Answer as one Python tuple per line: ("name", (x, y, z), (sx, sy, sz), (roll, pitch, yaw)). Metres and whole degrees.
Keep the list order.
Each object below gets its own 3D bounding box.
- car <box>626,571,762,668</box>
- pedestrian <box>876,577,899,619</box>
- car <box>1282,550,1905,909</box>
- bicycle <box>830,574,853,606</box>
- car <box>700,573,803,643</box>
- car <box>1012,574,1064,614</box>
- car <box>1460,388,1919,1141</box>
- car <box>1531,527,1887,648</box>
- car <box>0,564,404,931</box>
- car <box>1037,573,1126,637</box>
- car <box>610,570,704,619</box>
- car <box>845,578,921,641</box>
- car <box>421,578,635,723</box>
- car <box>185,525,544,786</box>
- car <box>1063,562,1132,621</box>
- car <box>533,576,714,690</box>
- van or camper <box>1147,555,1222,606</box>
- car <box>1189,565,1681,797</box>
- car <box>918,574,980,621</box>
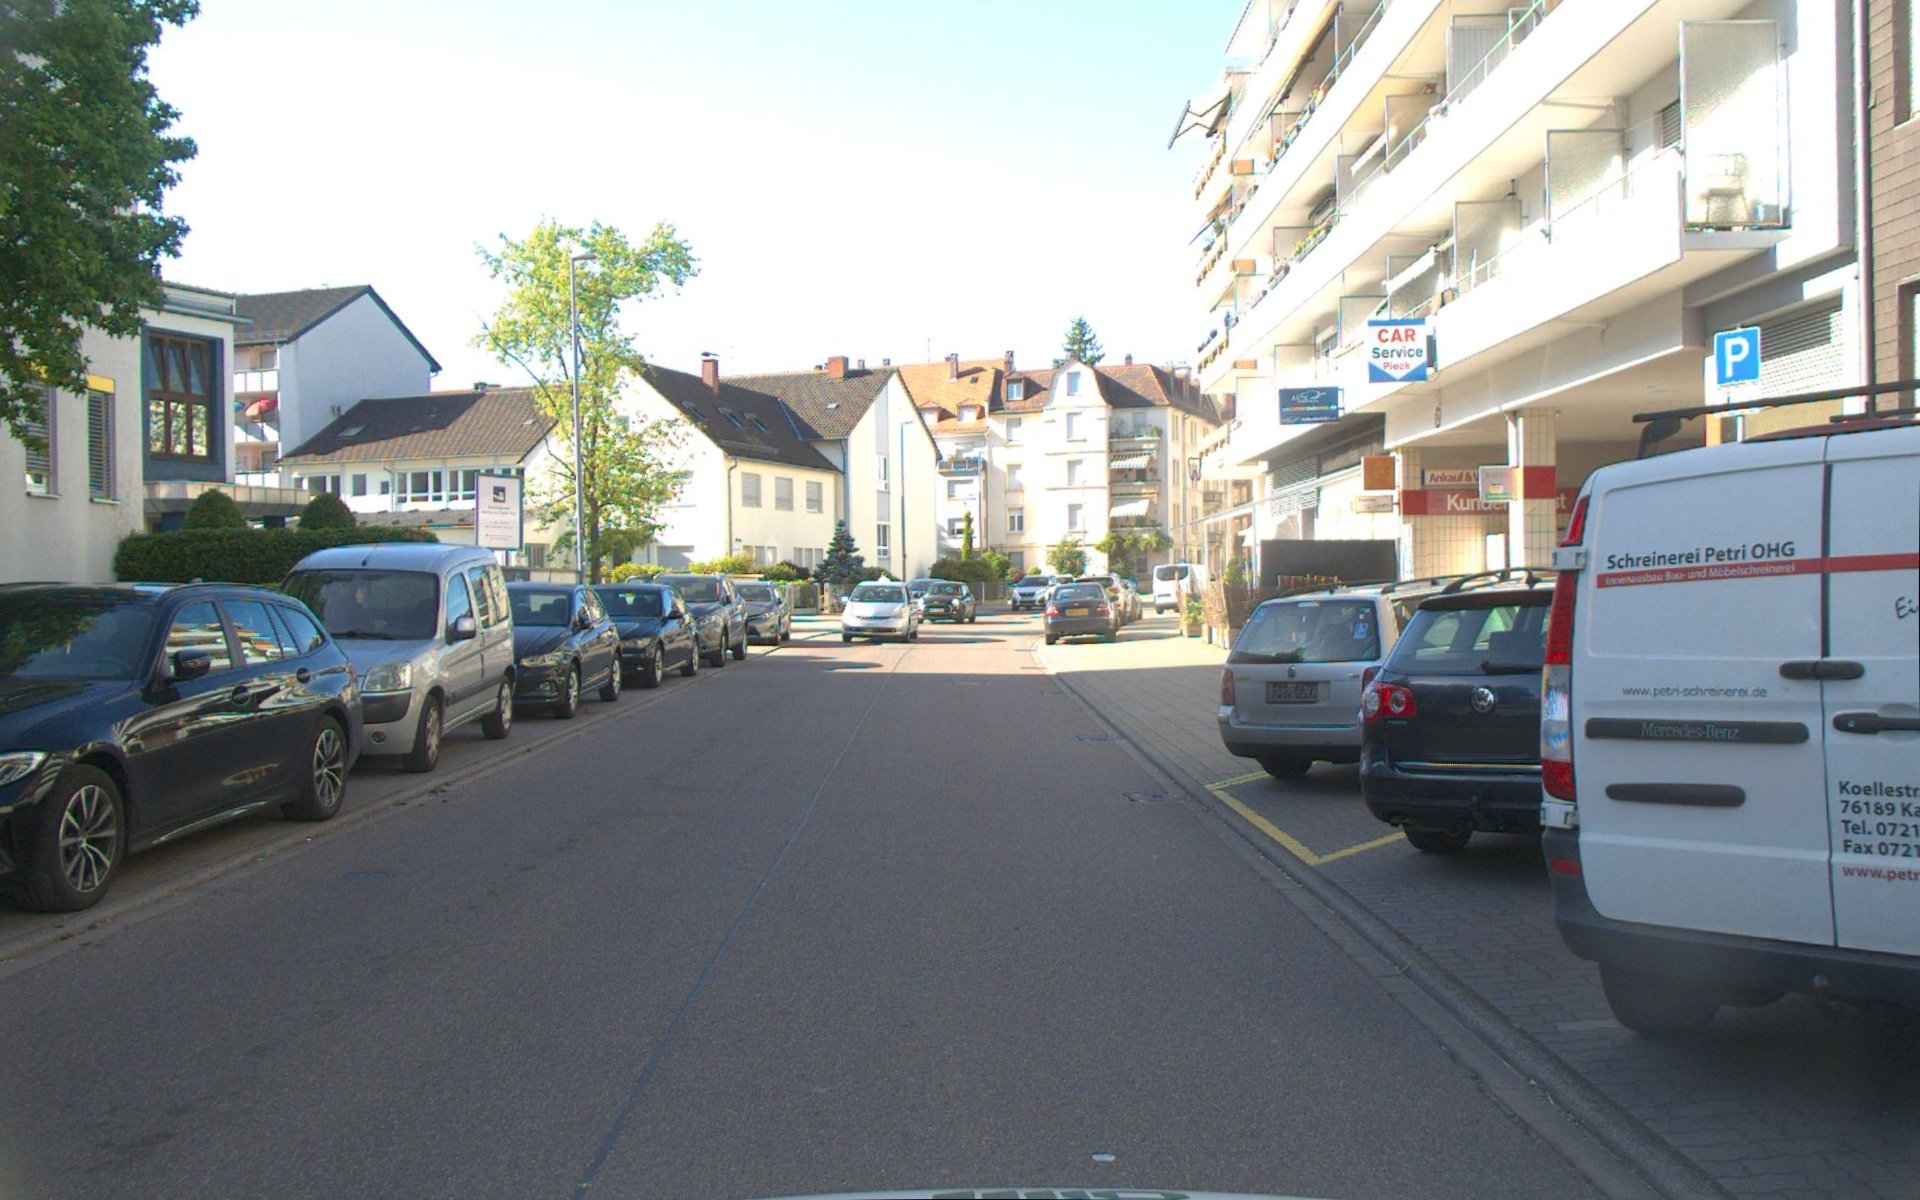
("car", (-4.764, 0.289, 30.155), (1.684, 1.614, 4.422), (-1, 1, 1))
("pedestrian", (-3.064, -0.061, 69.555), (0.668, 1.733, 0.824), (-2, -2, 21))
("car", (3.761, 0.541, 9.355), (1.727, 1.539, 4.298), (-2, 0, 44))
("bicycle", (-4.984, -0.411, 69.592), (0.446, 1.272, 1.929), (-1, -2, 11))
("car", (-4.975, 0.146, 40.113), (1.953, 1.561, 4.917), (-1, 1, -1))
("car", (3.719, -0.248, 78.399), (1.878, 1.755, 4.340), (-1, -2, 10))
("car", (3.955, 0.335, 5.930), (4.492, 1.931, 2.019), (-4, -1, -42))
("car", (10.904, -0.174, 24.306), (4.302, 1.539, 1.979), (-2, 0, -1))
("car", (-4.657, 0.580, 8.868), (1.697, 1.464, 4.612), (-1, 1, 1))
("car", (3.087, 0.117, 41.259), (1.929, 1.476, 5.007), (-1, 0, 7))
("car", (-10.549, -0.161, 57.666), (1.763, 1.583, 3.187), (-2, -2, 23))
("car", (-1.959, 0.206, 42.928), (1.690, 1.511, 4.107), (-1, 1, 1))
("car", (-4.822, 0.498, 18.960), (1.566, 1.465, 3.998), (-1, 1, -3))
("car", (-4.866, 0.365, 14.181), (1.654, 1.871, 4.339), (-1, 1, -3))
("car", (4.432, -0.226, 52.648), (1.778, 1.682, 4.563), (-1, -2, 10))
("car", (-4.842, 0.407, 24.387), (1.690, 1.490, 4.440), (-1, 1, 1))
("van or camper", (9.642, -0.870, 70.664), (1.979, 1.981, 4.703), (-3, 0, 22))
("car", (3.952, 0.535, 13.262), (4.611, 1.491, 1.664), (-2, 0, -44))
("car", (-0.357, -0.077, 58.819), (1.703, 1.539, 3.732), (-1, -2, 7))
